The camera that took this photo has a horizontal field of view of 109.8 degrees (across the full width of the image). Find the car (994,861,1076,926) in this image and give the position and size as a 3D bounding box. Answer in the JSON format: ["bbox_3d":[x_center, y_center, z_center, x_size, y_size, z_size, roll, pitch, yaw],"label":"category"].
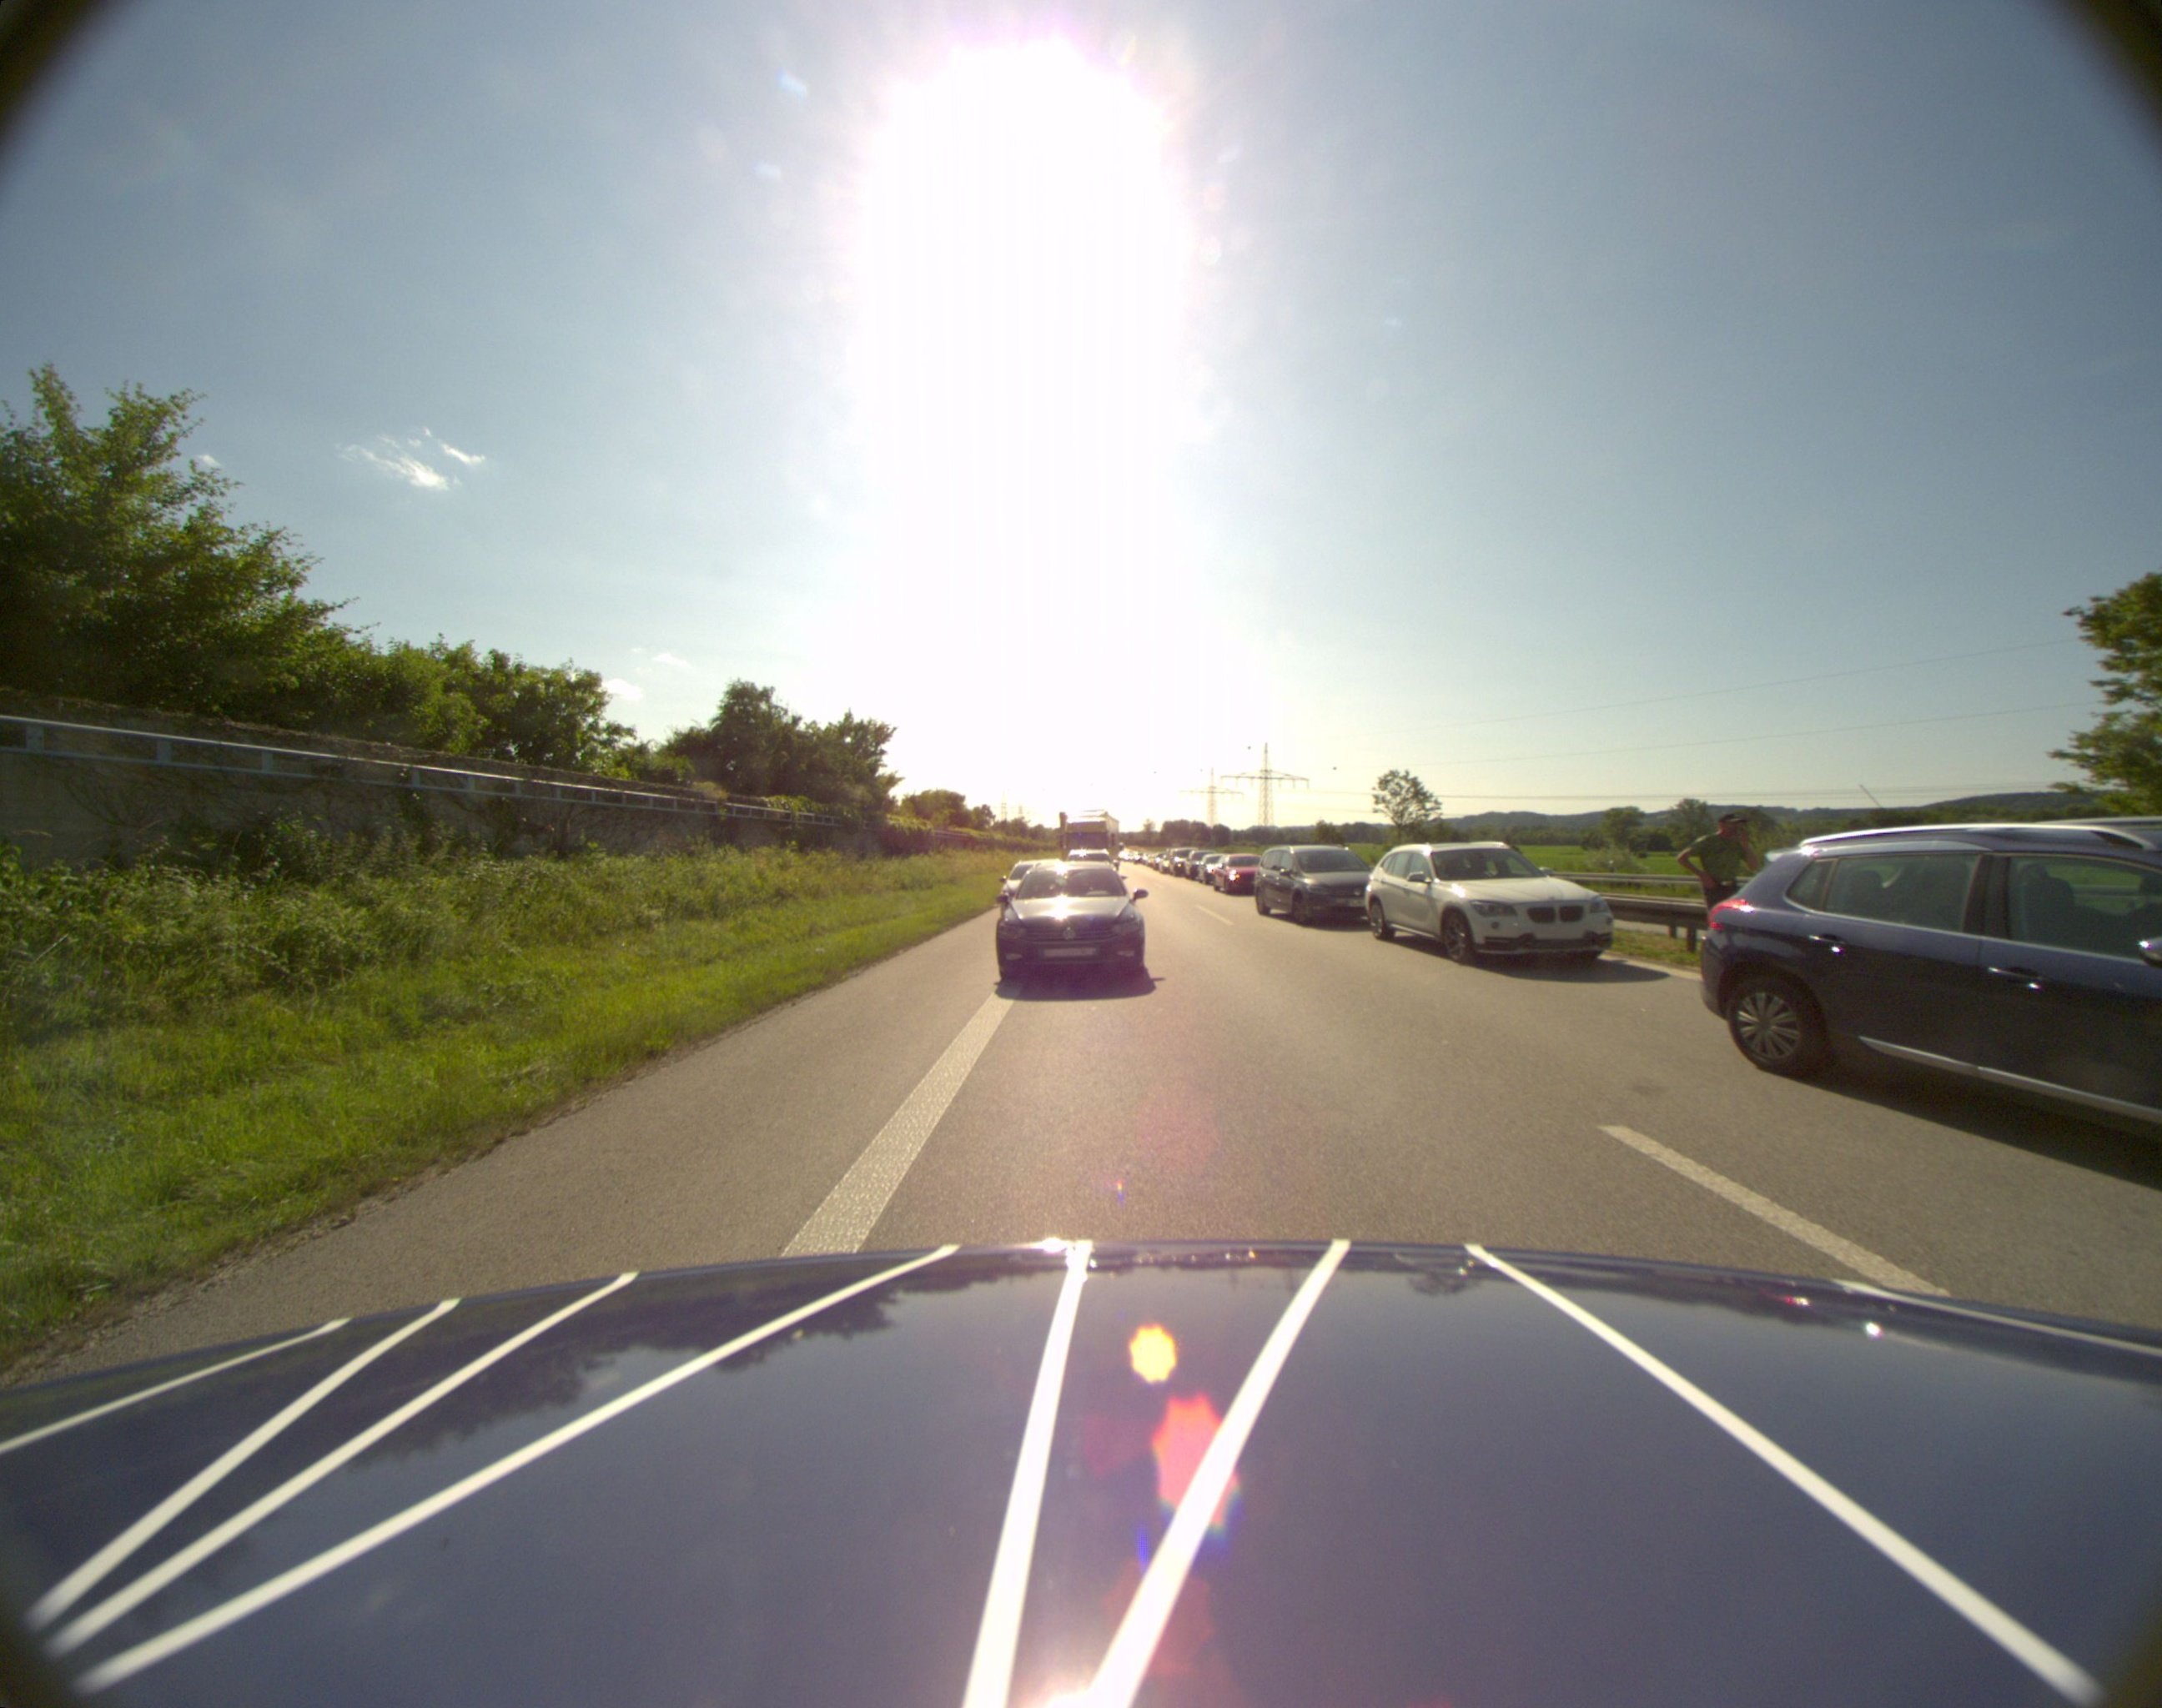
[{"bbox_3d":[-1.094,0.946,20.025,1.716,1.417,4.326,-2,0,2],"label":"car"}]

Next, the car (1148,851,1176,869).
[{"bbox_3d":[7.029,0.512,66.312,1.998,1.522,4.000,-1,0,1],"label":"car"}]

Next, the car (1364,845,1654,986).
[{"bbox_3d":[5.637,0.693,10.714,1.832,1.564,4.164,-1,0,2],"label":"car"}]

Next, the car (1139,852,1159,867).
[{"bbox_3d":[7.123,0.570,79.817,1.819,1.450,4.118,-2,0,3],"label":"car"}]

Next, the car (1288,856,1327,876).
[{"bbox_3d":[17.275,0.865,58.081,1.716,1.405,4.567,-2,0,2],"label":"car"}]

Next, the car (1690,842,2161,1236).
[{"bbox_3d":[5.152,0.736,3.321,1.692,1.526,3.948,-3,0,-2],"label":"car"}]

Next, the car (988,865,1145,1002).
[{"bbox_3d":[-0.099,0.928,10.725,1.716,1.405,4.326,-2,0,2],"label":"car"}]

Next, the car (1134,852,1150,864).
[{"bbox_3d":[7.798,0.527,97.094,1.819,1.450,4.118,-1,0,2],"label":"car"}]

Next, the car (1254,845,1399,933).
[{"bbox_3d":[5.114,0.658,16.435,1.819,1.606,4.117,-2,0,1],"label":"car"}]

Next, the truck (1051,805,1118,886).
[{"bbox_3d":[0.341,-0.486,43.301,3.332,4.089,6.970,-2,1,3],"label":"truck"}]

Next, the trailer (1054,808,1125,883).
[{"bbox_3d":[0.885,-0.576,49.387,3.386,4.089,13.956,-2,1,5],"label":"trailer"}]

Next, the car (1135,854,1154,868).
[{"bbox_3d":[7.203,0.769,86.411,1.819,1.450,4.117,-1,0,1],"label":"car"}]

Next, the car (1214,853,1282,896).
[{"bbox_3d":[6.107,0.700,28.193,1.819,1.450,4.118,-1,0,3],"label":"car"}]

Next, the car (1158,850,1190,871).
[{"bbox_3d":[6.944,0.461,57.018,1.998,1.522,4.000,-1,0,1],"label":"car"}]

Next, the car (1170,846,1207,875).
[{"bbox_3d":[6.999,0.421,49.842,1.902,1.777,4.200,-1,0,1],"label":"car"}]

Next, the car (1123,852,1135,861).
[{"bbox_3d":[7.978,0.411,125.898,1.819,1.450,4.118,-2,0,3],"label":"car"}]

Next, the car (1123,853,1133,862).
[{"bbox_3d":[8.118,0.570,131.544,1.819,1.450,4.118,-1,0,3],"label":"car"}]

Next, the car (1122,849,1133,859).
[{"bbox_3d":[8.554,0.072,140.873,1.813,1.783,3.773,-1,0,1],"label":"car"}]

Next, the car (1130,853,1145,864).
[{"bbox_3d":[7.820,0.569,105.523,1.819,1.450,4.117,-2,0,1],"label":"car"}]

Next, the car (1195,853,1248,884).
[{"bbox_3d":[6.754,0.665,36.885,1.895,1.390,4.000,-1,0,1],"label":"car"}]

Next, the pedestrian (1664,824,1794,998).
[{"bbox_3d":[6.796,0.572,8.008,0.672,1.740,0.814,-1,1,1],"label":"pedestrian"}]

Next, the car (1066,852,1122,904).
[{"bbox_3d":[0.486,0.767,26.452,1.716,1.614,4.326,-2,0,2],"label":"car"}]

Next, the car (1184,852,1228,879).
[{"bbox_3d":[7.000,0.608,42.971,1.894,1.446,4.000,-1,0,2],"label":"car"}]
